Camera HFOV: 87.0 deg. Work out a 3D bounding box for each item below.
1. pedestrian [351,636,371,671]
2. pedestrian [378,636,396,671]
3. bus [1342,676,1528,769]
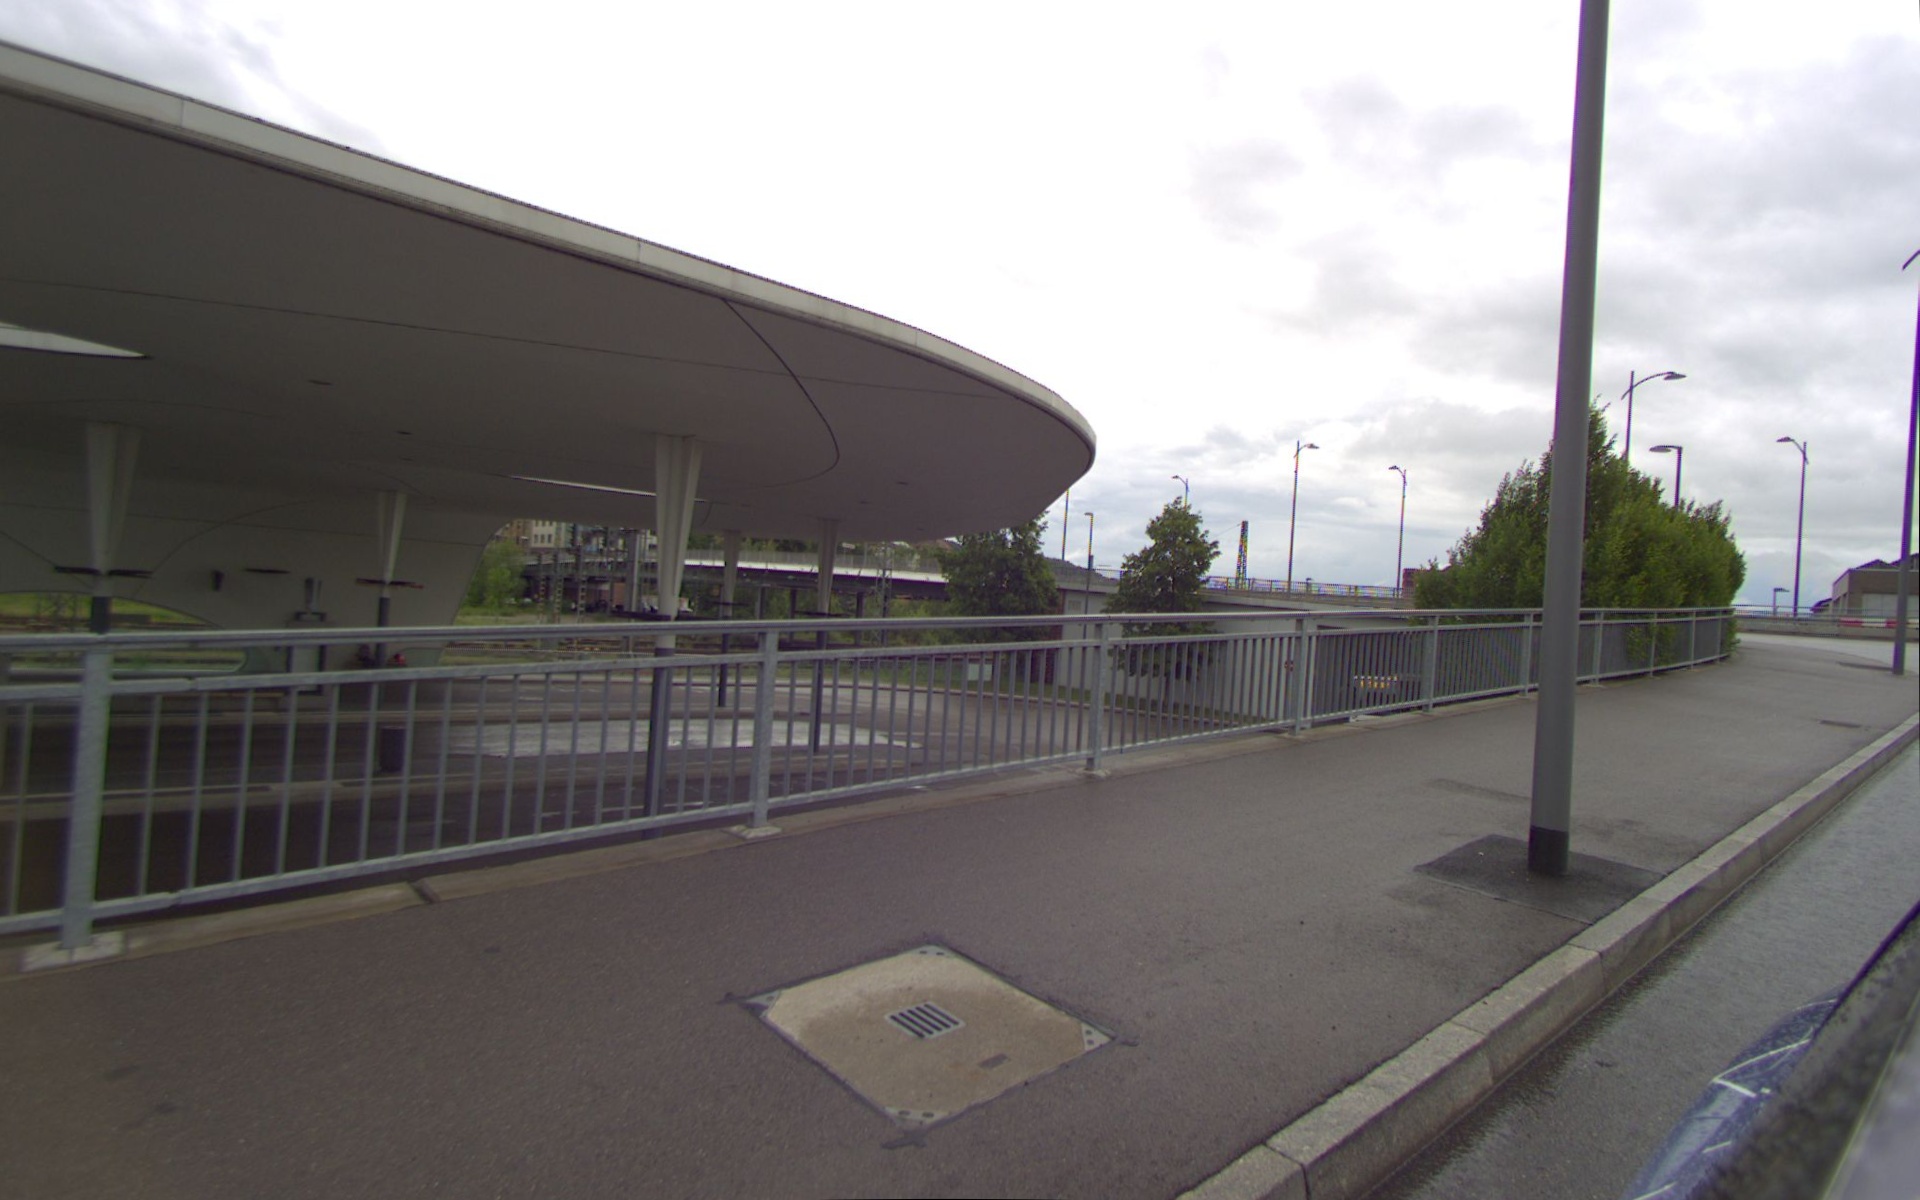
[{"bbox_3d":[-23.201,2.072,39.189,0.575,1.286,0.568,0,0,-39],"label":"pedestrian"},{"bbox_3d":[-22.518,2.098,39.746,0.536,1.296,0.568,0,0,-38],"label":"pedestrian"},{"bbox_3d":[23.565,5.818,49.777,11.912,3.298,2.797,-1,0,-35],"label":"bus"}]
